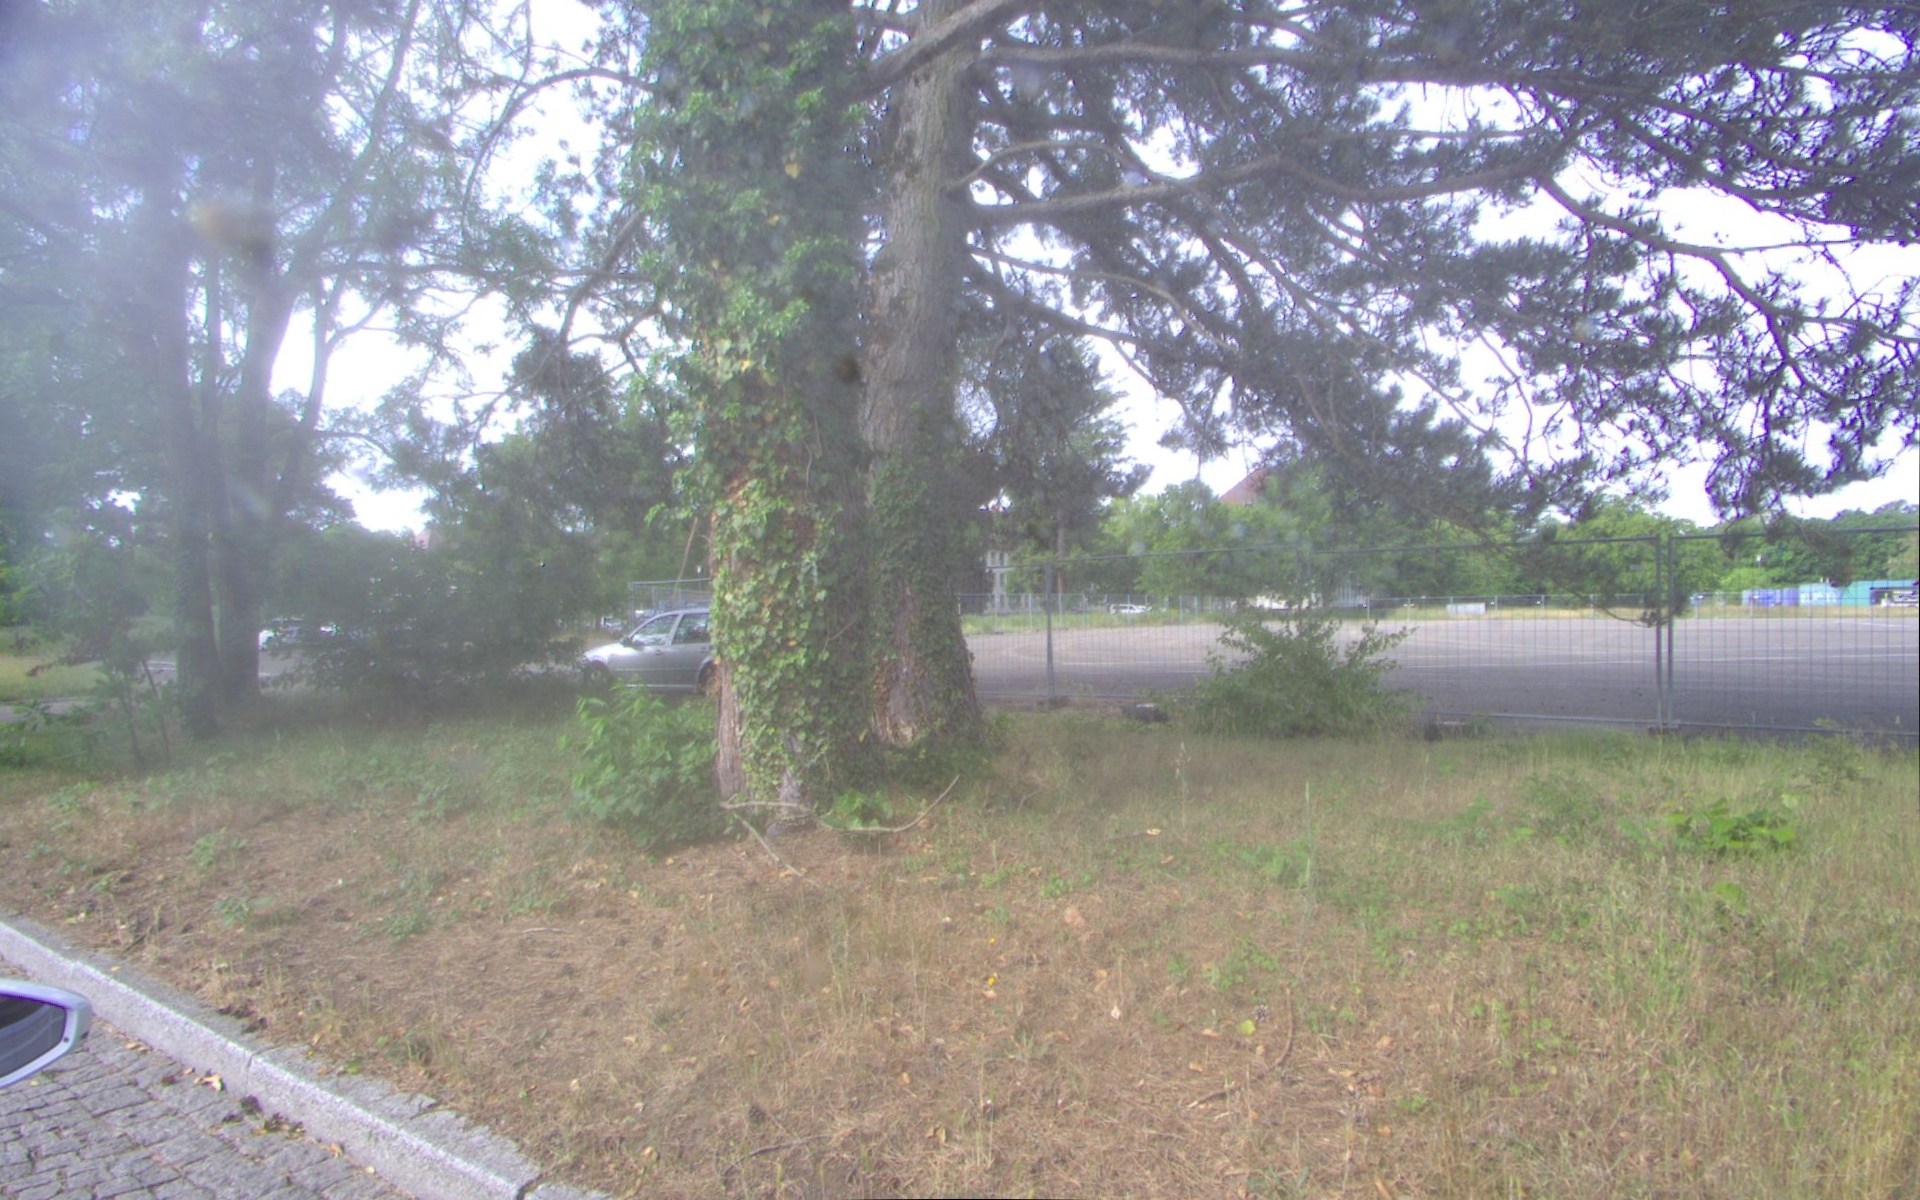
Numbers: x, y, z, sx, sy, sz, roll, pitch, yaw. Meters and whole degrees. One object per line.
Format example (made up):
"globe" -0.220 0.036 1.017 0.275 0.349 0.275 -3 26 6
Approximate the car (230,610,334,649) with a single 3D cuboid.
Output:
"car" -29.676 1.296 43.829 4.359 1.500 1.991 -3 -1 29

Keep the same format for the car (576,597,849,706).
"car" -3.773 0.760 15.105 4.014 1.444 1.644 -1 -3 31

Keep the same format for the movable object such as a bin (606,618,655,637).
"movable object such as a bin" -14.731 1.216 44.749 1.928 0.836 1.181 -1 0 37

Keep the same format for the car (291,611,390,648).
"car" -28.491 1.364 46.056 4.359 1.500 1.991 -3 -1 29
